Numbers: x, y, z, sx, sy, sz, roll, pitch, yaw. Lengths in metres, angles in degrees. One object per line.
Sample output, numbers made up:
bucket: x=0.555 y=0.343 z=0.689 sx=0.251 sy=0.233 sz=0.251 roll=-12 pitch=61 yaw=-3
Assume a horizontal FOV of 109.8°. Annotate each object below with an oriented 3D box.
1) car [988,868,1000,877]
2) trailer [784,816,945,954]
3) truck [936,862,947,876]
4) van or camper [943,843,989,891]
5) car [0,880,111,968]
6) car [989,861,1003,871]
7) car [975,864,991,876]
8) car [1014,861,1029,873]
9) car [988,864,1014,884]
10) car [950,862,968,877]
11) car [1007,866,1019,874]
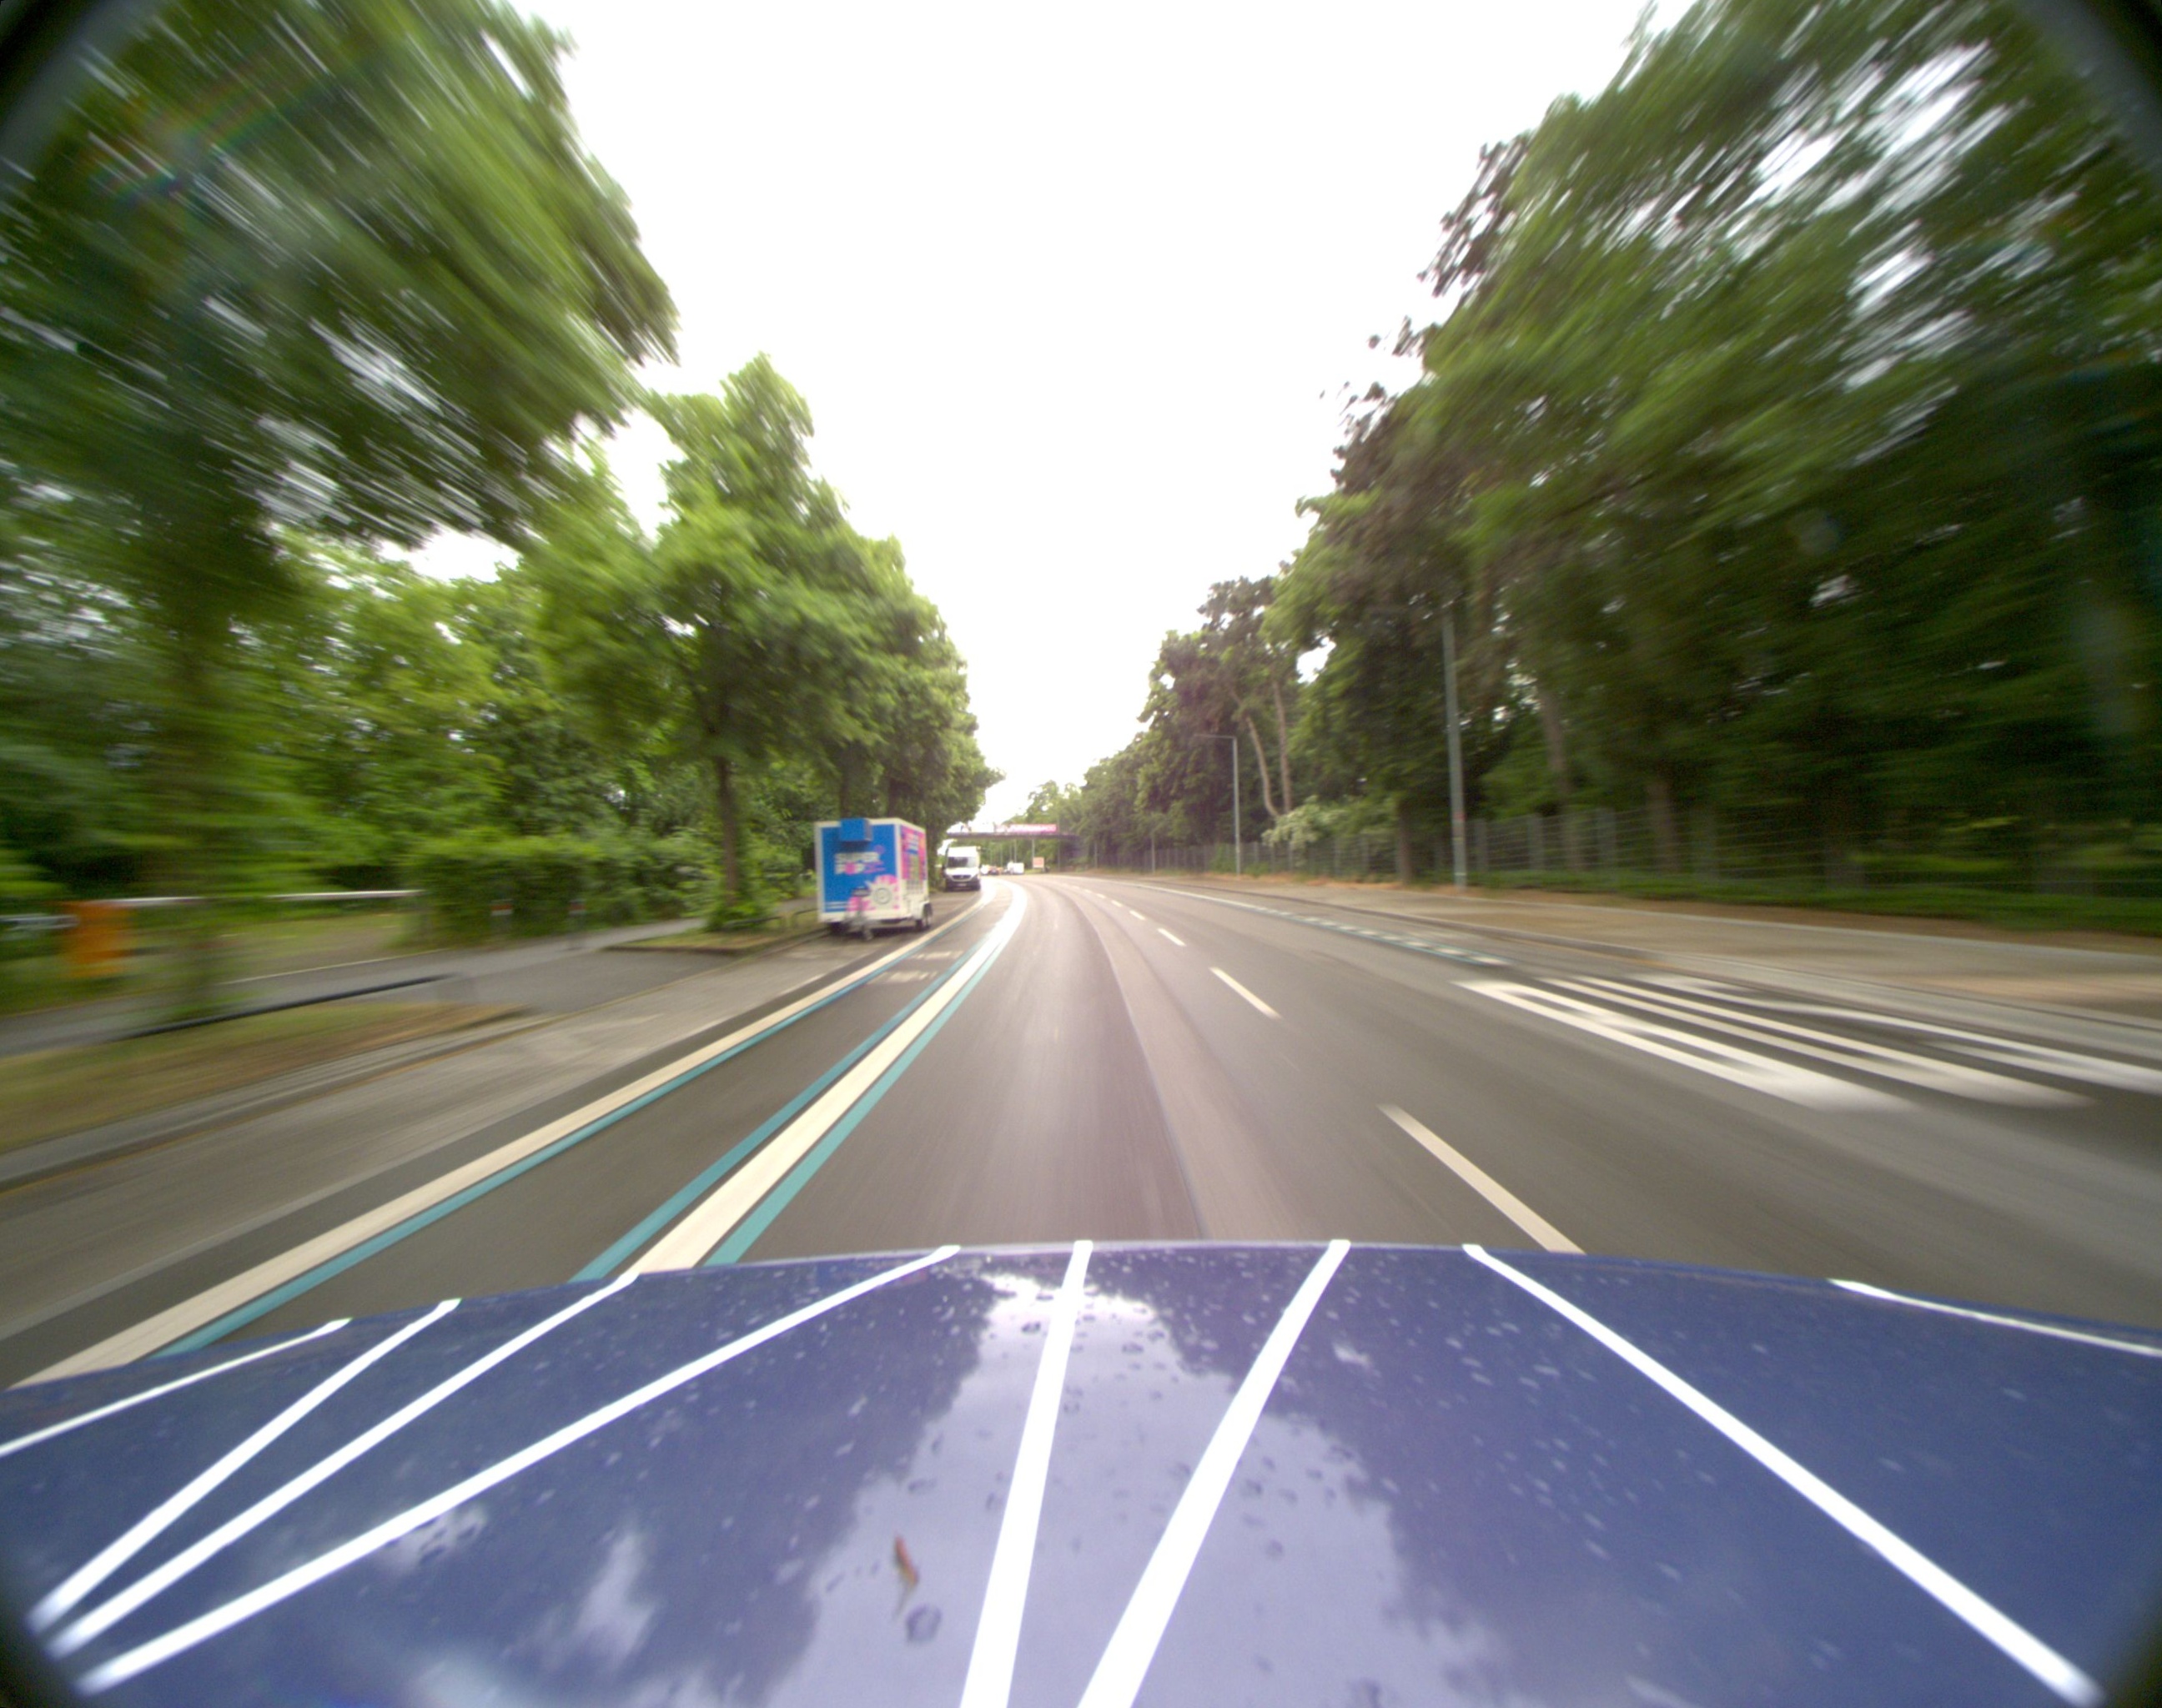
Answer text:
car: x=-19.777 y=4.249 z=172.572 sx=1.879 sy=1.964 sz=4.731 roll=0 pitch=-3 yaw=-14
trailer: x=-4.804 y=0.619 z=17.859 sx=2.322 sy=2.656 sz=5.375 roll=-2 pitch=0 yaw=-2
truck: x=-24.560 y=2.594 z=134.041 sx=1.725 sy=2.319 sz=3.997 roll=-2 pitch=-2 yaw=-13
van or camper: x=-6.984 y=0.787 z=46.812 sx=2.324 sy=2.649 sz=6.379 roll=-2 pitch=0 yaw=-5
car: x=-19.030 y=1.133 z=12.571 sx=4.144 sy=1.314 sz=1.892 roll=0 pitch=0 yaw=9
car: x=-13.564 y=1.934 z=121.306 sx=1.766 sy=1.428 sz=4.146 roll=-2 pitch=0 yaw=-12
car: x=-13.748 y=2.236 z=106.091 sx=1.830 sy=1.453 sz=3.879 roll=-3 pitch=-2 yaw=-13
car: x=-9.984 y=2.229 z=127.165 sx=1.985 sy=1.902 sz=5.224 roll=-1 pitch=-2 yaw=-10
car: x=-6.124 y=1.513 z=57.956 sx=1.684 sy=1.368 sz=3.996 roll=-2 pitch=1 yaw=-10
car: x=-13.211 y=1.669 z=82.208 sx=1.667 sy=1.526 sz=3.737 roll=-3 pitch=0 yaw=-12
car: x=-12.634 y=3.006 z=140.710 sx=1.614 sy=1.436 sz=4.035 roll=0 pitch=-3 yaw=-13
